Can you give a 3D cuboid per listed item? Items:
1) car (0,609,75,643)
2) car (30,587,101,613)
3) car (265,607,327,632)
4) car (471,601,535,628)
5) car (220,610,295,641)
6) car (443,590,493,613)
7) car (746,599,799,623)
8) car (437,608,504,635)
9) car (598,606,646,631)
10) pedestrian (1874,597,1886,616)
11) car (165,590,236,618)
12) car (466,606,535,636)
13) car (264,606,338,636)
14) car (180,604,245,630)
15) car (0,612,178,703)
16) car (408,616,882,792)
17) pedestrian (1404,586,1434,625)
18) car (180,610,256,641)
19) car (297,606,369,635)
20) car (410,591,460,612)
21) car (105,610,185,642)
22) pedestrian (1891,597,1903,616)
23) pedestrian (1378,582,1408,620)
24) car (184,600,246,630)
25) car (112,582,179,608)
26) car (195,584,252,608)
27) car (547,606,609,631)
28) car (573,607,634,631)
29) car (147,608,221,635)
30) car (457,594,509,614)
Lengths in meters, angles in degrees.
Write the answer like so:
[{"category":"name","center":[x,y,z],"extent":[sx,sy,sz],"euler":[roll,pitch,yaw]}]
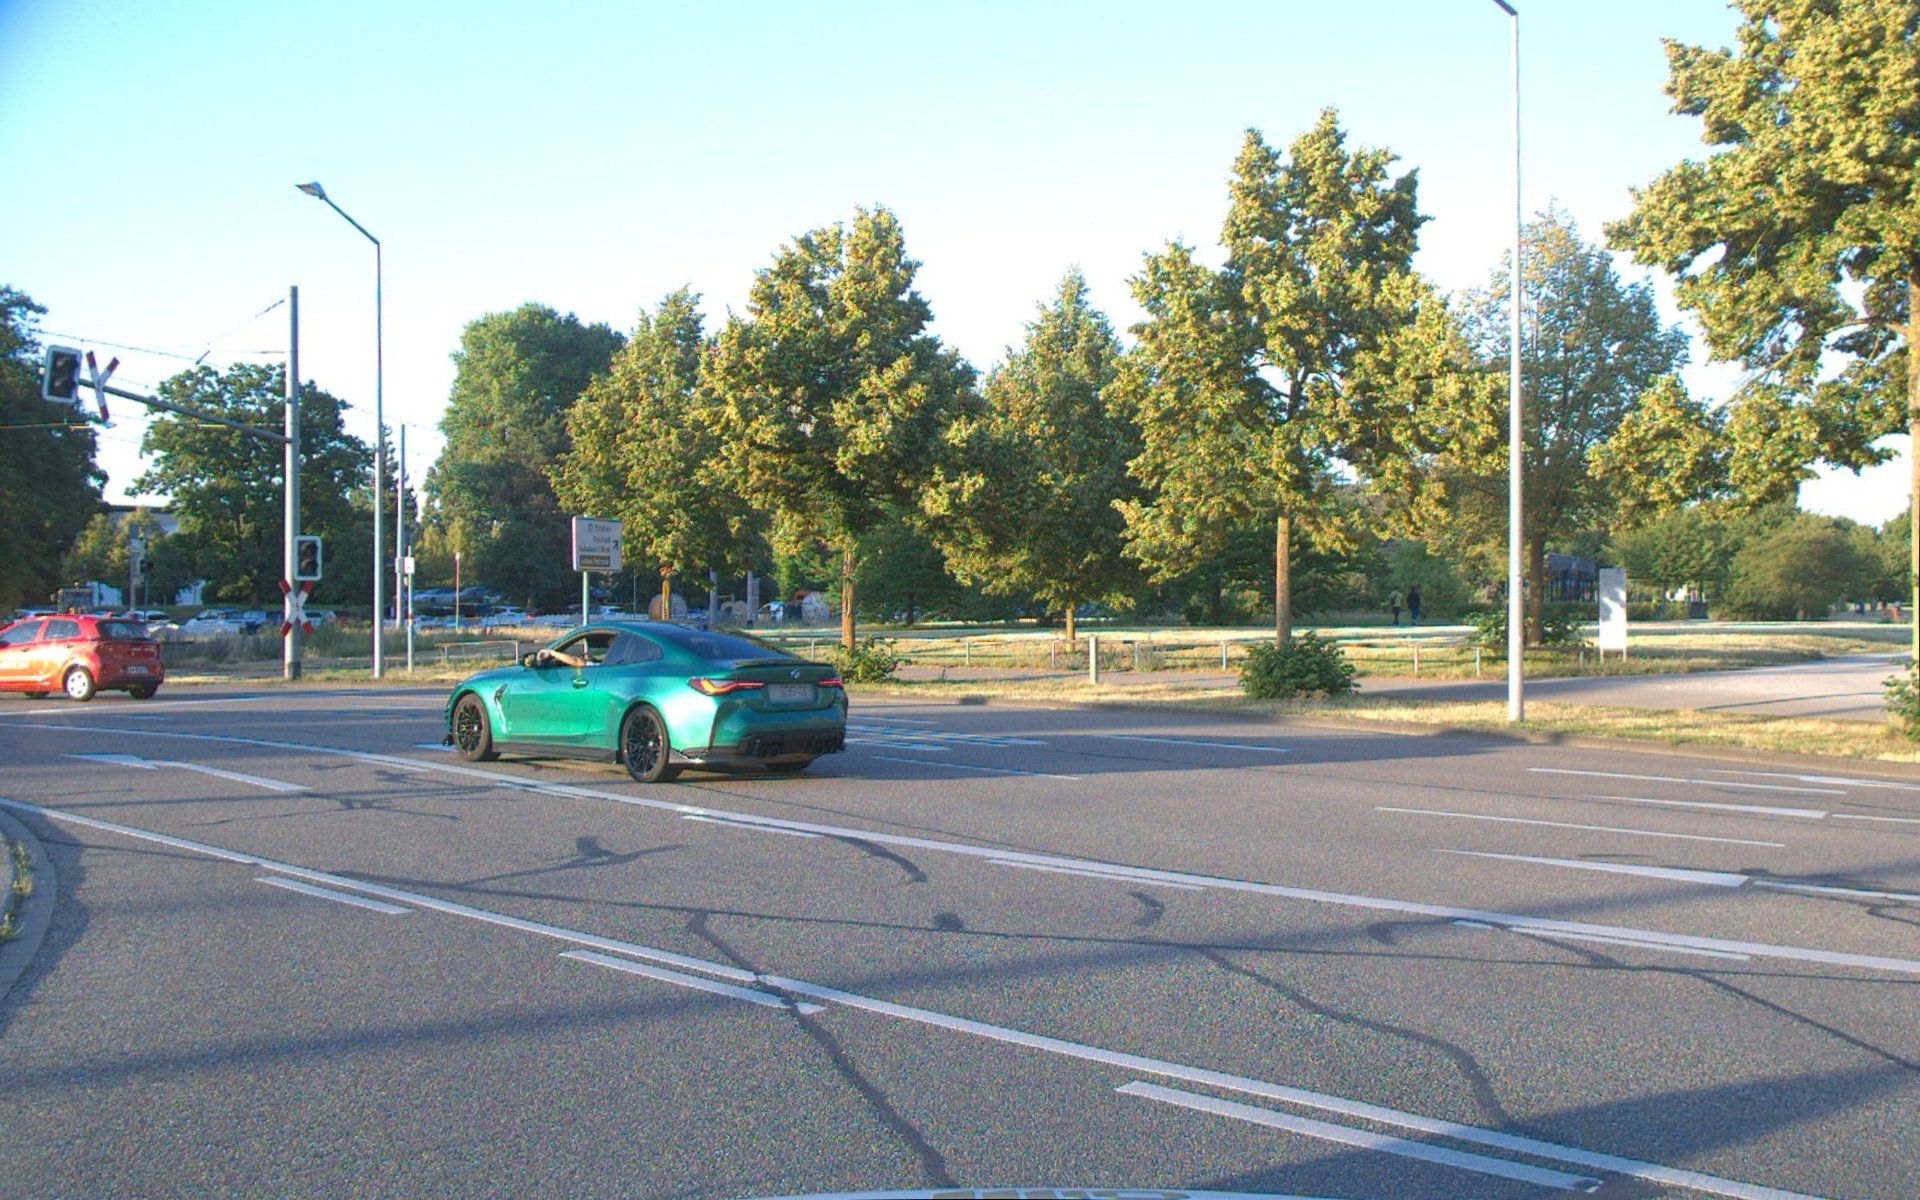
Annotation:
[{"category":"car","center":[-45.625,1.246,81.425],"extent":[3.915,1.632,1.995],"euler":[0,0,32]},{"category":"car","center":[-70.533,-0.012,130.455],"extent":[1.956,2.049,4.590],"euler":[0,0,29]},{"category":"car","center":[-45.816,1.329,114.102],"extent":[3.933,1.691,1.889],"euler":[0,0,-23]},{"category":"car","center":[-34.593,1.093,125.253],"extent":[4.499,2.049,1.996],"euler":[0,0,-9]},{"category":"car","center":[-39.088,1.403,92.035],"extent":[3.915,1.632,1.995],"euler":[0,0,32]},{"category":"car","center":[-44.089,0.121,148.227],"extent":[1.963,2.049,3.979],"euler":[0,0,40]},{"category":"car","center":[-13.002,0.767,114.664],"extent":[1.724,1.646,3.940],"euler":[0,0,-41]},{"category":"car","center":[-30.976,1.330,104.676],"extent":[3.915,1.632,1.995],"euler":[0,0,32]},{"category":"car","center":[-26.364,1.401,128.870],"extent":[1.979,1.782,4.538],"euler":[0,1,-37]},{"category":"pedestrian","center":[85.718,0.607,154.101],"extent":[0.835,1.690,0.978],"euler":[0,0,25]},{"category":"car","center":[-56.647,0.249,123.481],"extent":[1.956,2.049,4.590],"euler":[0,0,29]},{"category":"car","center":[-32.524,1.449,117.146],"extent":[4.499,2.049,1.996],"euler":[0,0,-9]},{"category":"car","center":[-37.388,1.174,93.861],"extent":[3.915,1.632,1.995],"euler":[0,0,32]},{"category":"car","center":[-50.560,1.118,111.861],"extent":[3.939,1.691,1.983],"euler":[0,0,-27]},{"category":"car","center":[-15.890,0.989,29.378],"extent":[3.406,1.526,1.644],"euler":[0,0,17]},{"category":"car","center":[-3.125,0.878,15.866],"extent":[4.646,1.395,1.990],"euler":[0,0,39]},{"category":"pedestrian","center":[19.633,0.231,70.774],"extent":[1.047,1.646,0.911],"euler":[0,0,2]},{"category":"car","center":[-40.530,1.371,90.367],"extent":[3.915,1.632,1.995],"euler":[0,0,32]},{"category":"car","center":[-36.443,1.200,96.079],"extent":[3.915,1.632,1.995],"euler":[0,0,32]},{"category":"car","center":[-47.951,0.125,151.054],"extent":[1.959,1.847,3.987],"euler":[0,0,34]},{"category":"car","center":[-42.255,1.322,85.778],"extent":[3.915,1.632,1.995],"euler":[0,0,32]},{"category":"pedestrian","center":[86.159,0.606,152.088],"extent":[0.834,1.690,0.978],"euler":[0,0,22]},{"category":"pedestrian","center":[18.627,0.040,71.152],"extent":[1.047,1.646,0.911],"euler":[0,0,2]},{"category":"car","center":[-52.004,1.053,115.447],"extent":[3.939,2.049,1.983],"euler":[0,0,-27]},{"category":"car","center":[-67.117,-0.401,136.330],"extent":[1.958,2.049,4.585],"euler":[0,0,33]},{"category":"car","center":[-63.375,-0.313,142.351],"extent":[1.958,2.049,4.105],"euler":[0,0,33]},{"category":"car","center":[-26.269,1.244,113.665],"extent":[3.915,1.632,1.995],"euler":[0,0,32]},{"category":"car","center":[-24.900,1.329,115.415],"extent":[3.915,1.632,1.995],"euler":[0,0,32]},{"category":"car","center":[-50.230,1.379,107.074],"extent":[1.863,1.691,3.987],"euler":[0,0,34]},{"category":"car","center":[-41.689,0.307,144.715],"extent":[3.902,1.736,2.001],"euler":[0,0,6]}]
